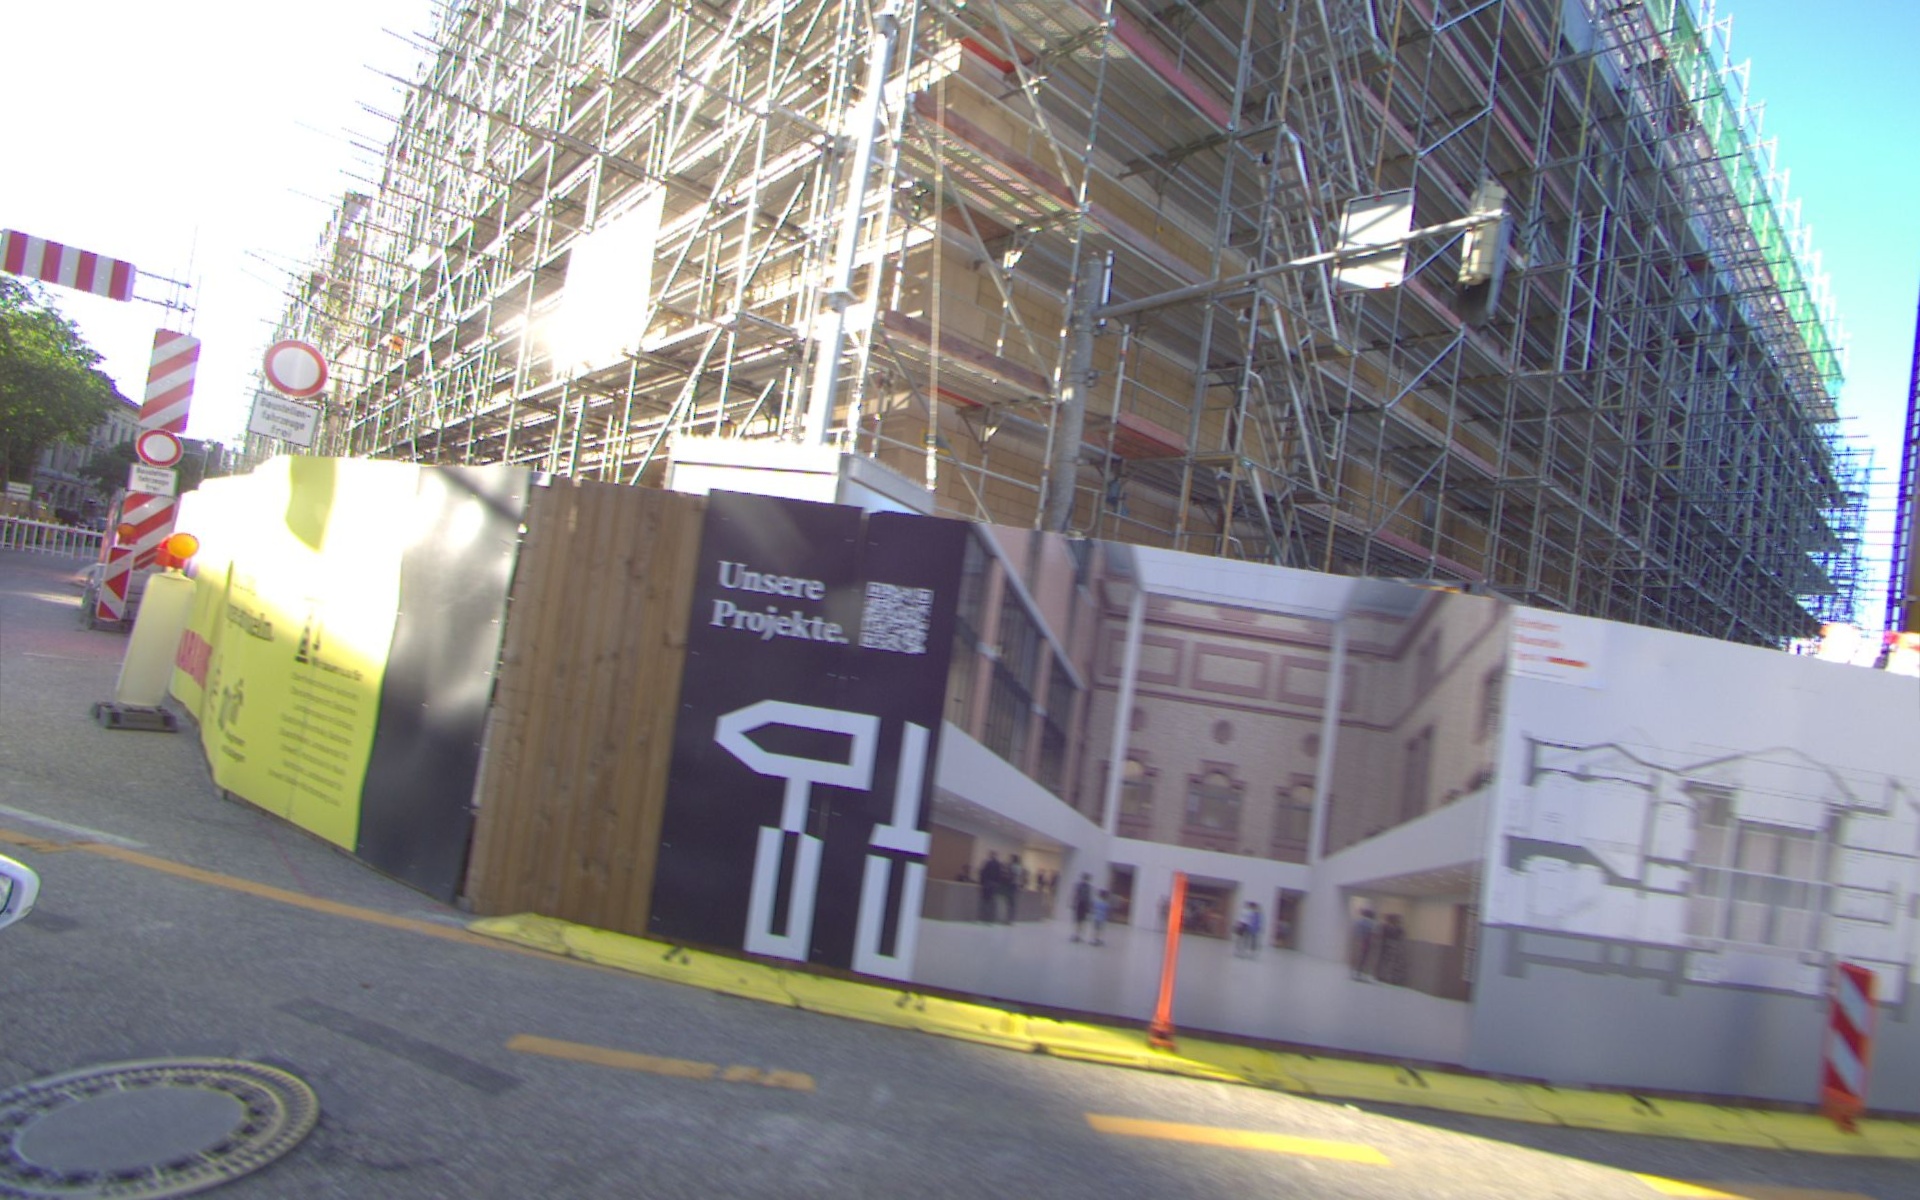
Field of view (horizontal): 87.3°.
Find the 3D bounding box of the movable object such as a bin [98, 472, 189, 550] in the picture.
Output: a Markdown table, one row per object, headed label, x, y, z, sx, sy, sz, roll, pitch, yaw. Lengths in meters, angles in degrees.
| label | x | y | z | sx | sy | sz | roll | pitch | yaw |
| --- | --- | --- | --- | --- | --- | --- | --- | --- | --- |
| movable object such as a bin | -57.552 | -6.138 | 71.134 | 3.283 | 4.591 | 7.846 | 8 | -2 | -30 |
